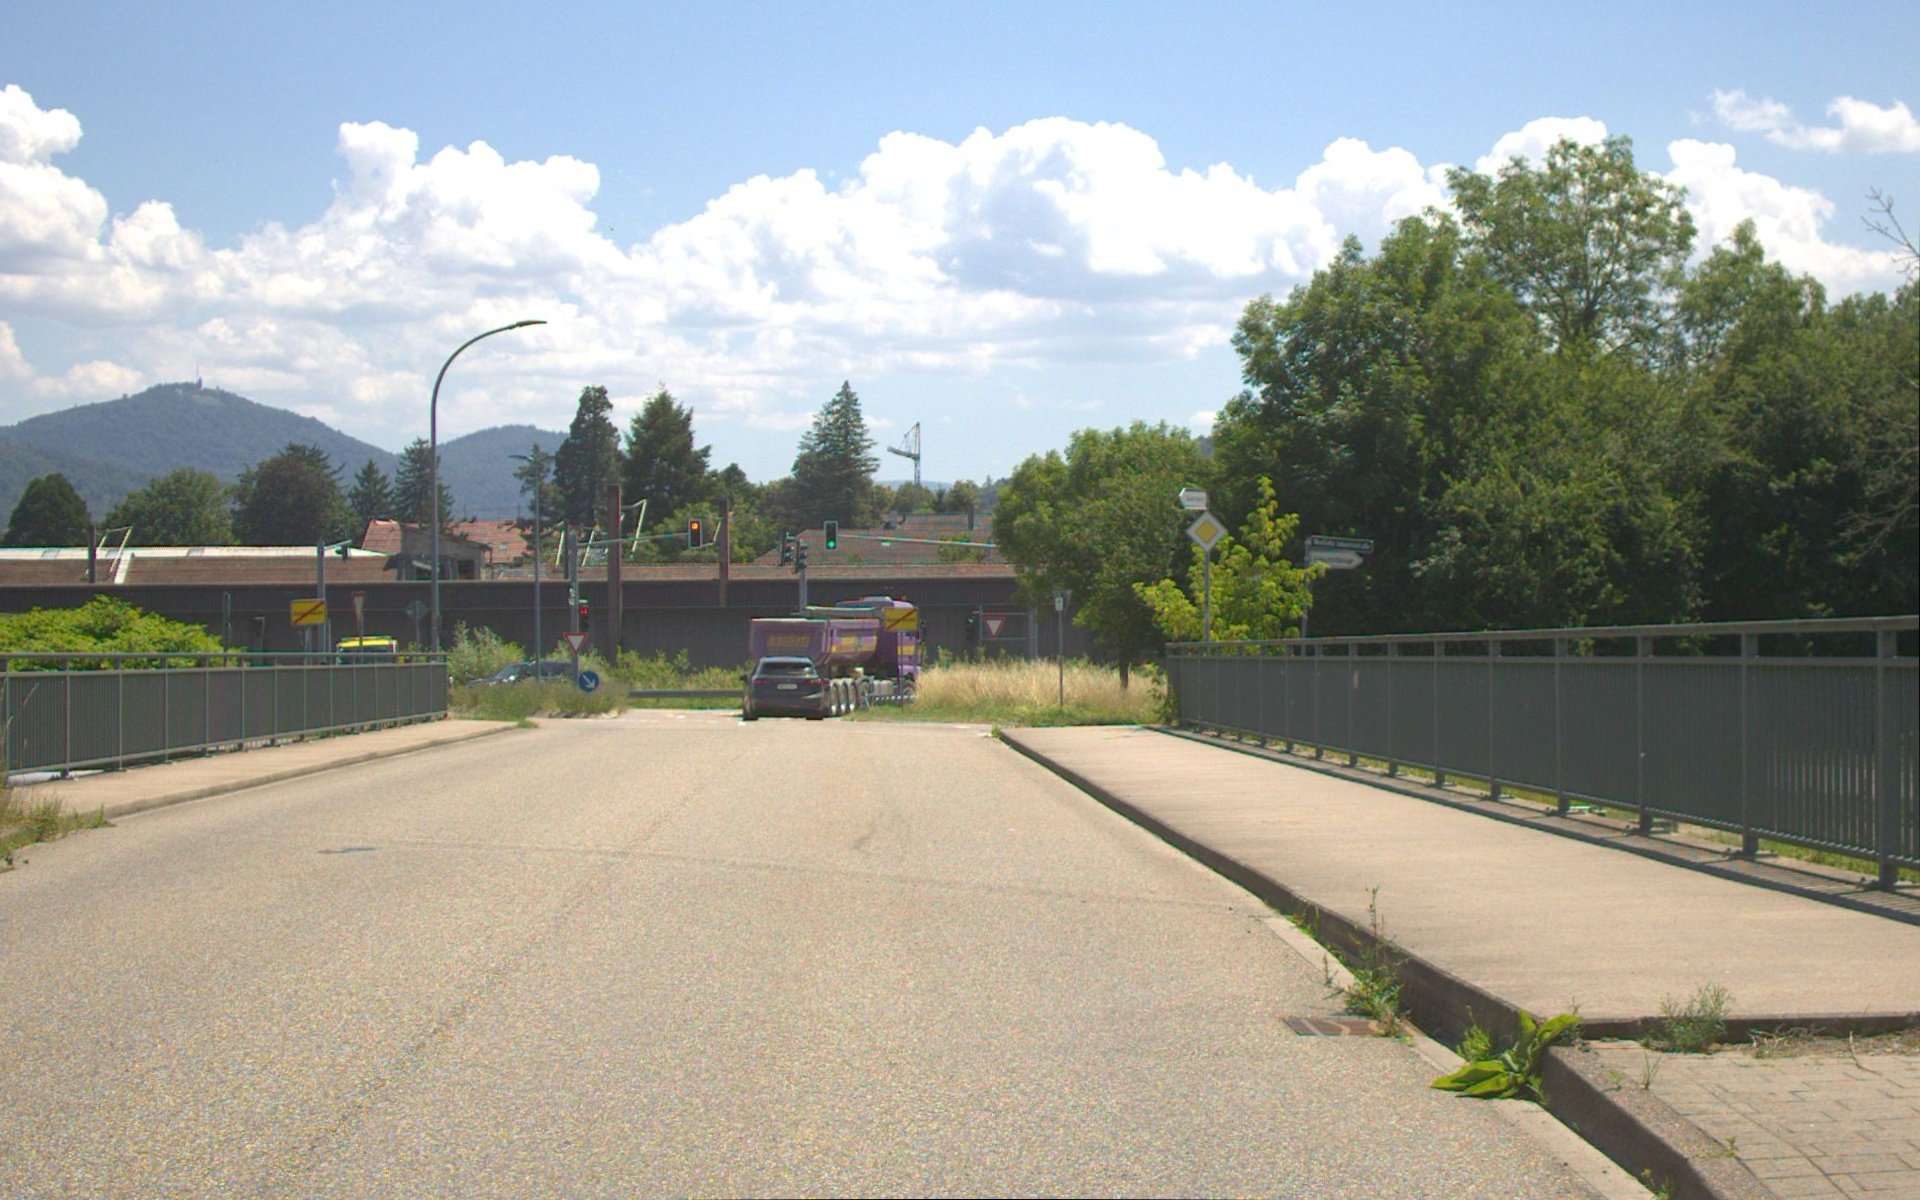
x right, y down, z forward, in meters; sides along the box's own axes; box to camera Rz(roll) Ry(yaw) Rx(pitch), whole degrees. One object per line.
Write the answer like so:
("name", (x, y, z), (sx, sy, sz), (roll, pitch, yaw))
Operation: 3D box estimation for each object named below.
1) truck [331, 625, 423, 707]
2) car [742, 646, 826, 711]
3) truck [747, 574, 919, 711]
("truck", (-18.091, 2.086, 106.375), (2.310, 2.330, 9.052), (-2, -2, -12))
("car", (-4.347, 1.921, 84.802), (1.993, 1.498, 4.000), (2, -1, -3))
("truck", (-3.981, 1.493, 111.387), (2.997, 4.166, 11.801), (0, -2, 10))
